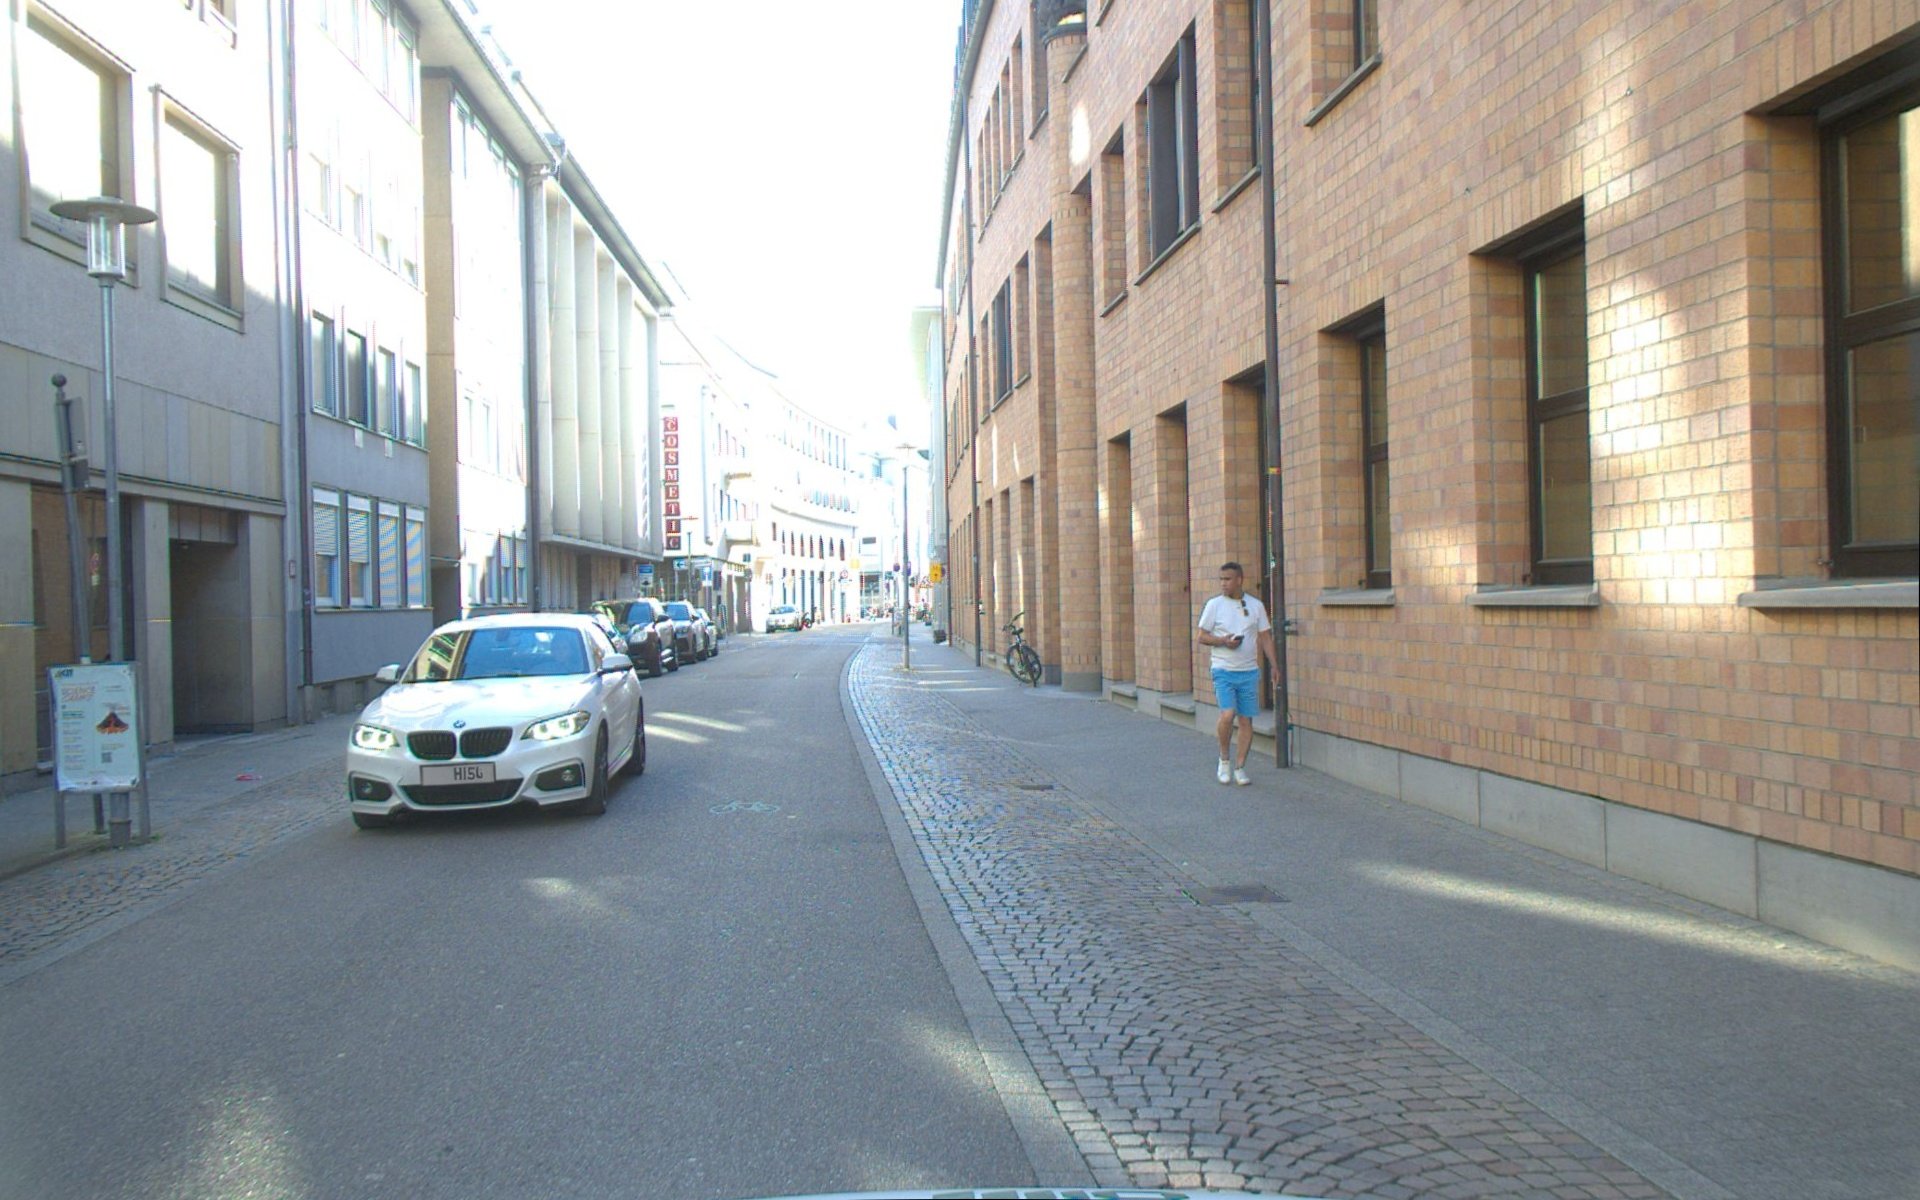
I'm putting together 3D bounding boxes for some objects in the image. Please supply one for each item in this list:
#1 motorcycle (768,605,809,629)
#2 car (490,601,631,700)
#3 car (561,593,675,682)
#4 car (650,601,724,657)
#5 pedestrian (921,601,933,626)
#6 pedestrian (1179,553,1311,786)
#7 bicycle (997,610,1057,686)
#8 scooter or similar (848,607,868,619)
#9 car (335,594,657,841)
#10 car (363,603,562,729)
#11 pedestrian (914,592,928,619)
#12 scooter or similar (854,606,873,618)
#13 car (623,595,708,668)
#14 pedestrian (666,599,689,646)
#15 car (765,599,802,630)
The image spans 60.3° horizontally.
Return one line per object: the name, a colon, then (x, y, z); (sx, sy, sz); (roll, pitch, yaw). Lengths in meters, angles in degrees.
motorcycle: (-10.419, 1.041, 100.627); (2.343, 1.340, 0.861); (-3, 0, -3)
car: (-7.096, 0.845, 29.775); (1.854, 1.556, 4.334); (-2, 0, -6)
car: (-7.163, 0.735, 35.055); (1.854, 1.705, 4.547); (-2, 0, -6)
car: (-8.081, 0.828, 49.202); (1.616, 1.486, 3.997); (-4, 0, -2)
pedestrian: (-2.463, 1.000, 123.369); (0.653, 1.901, 0.777); (1, -1, -33)
pedestrian: (2.254, 0.532, 13.161); (0.746, 1.746, 0.820); (-3, 0, -6)
bicycle: (1.065, 0.752, 26.739); (0.539, 1.122, 1.978); (-5, 1, -8)
scooter or similar: (-8.160, 1.038, 132.014); (0.515, 0.944, 2.225); (-1, 0, 27)
car: (-3.411, 0.759, 12.914); (1.682, 1.544, 4.155); (-2, 0, -6)
car: (-7.078, 0.862, 24.033); (1.854, 1.556, 4.722); (-2, 0, -6)
pedestrian: (-2.784, 0.396, 118.326); (0.653, 1.901, 0.752); (1, -1, -33)
scooter or similar: (-7.935, 0.955, 135.765); (0.515, 0.944, 2.225); (-1, 0, 27)
car: (-7.771, 0.795, 43.963); (1.854, 1.772, 4.385); (-2, 0, -6)
pedestrian: (-10.186, 0.811, 59.650); (0.642, 1.654, 0.450); (-1, 0, -44)
car: (-9.523, 0.768, 89.525); (1.701, 1.634, 3.531); (-1, 0, -2)
